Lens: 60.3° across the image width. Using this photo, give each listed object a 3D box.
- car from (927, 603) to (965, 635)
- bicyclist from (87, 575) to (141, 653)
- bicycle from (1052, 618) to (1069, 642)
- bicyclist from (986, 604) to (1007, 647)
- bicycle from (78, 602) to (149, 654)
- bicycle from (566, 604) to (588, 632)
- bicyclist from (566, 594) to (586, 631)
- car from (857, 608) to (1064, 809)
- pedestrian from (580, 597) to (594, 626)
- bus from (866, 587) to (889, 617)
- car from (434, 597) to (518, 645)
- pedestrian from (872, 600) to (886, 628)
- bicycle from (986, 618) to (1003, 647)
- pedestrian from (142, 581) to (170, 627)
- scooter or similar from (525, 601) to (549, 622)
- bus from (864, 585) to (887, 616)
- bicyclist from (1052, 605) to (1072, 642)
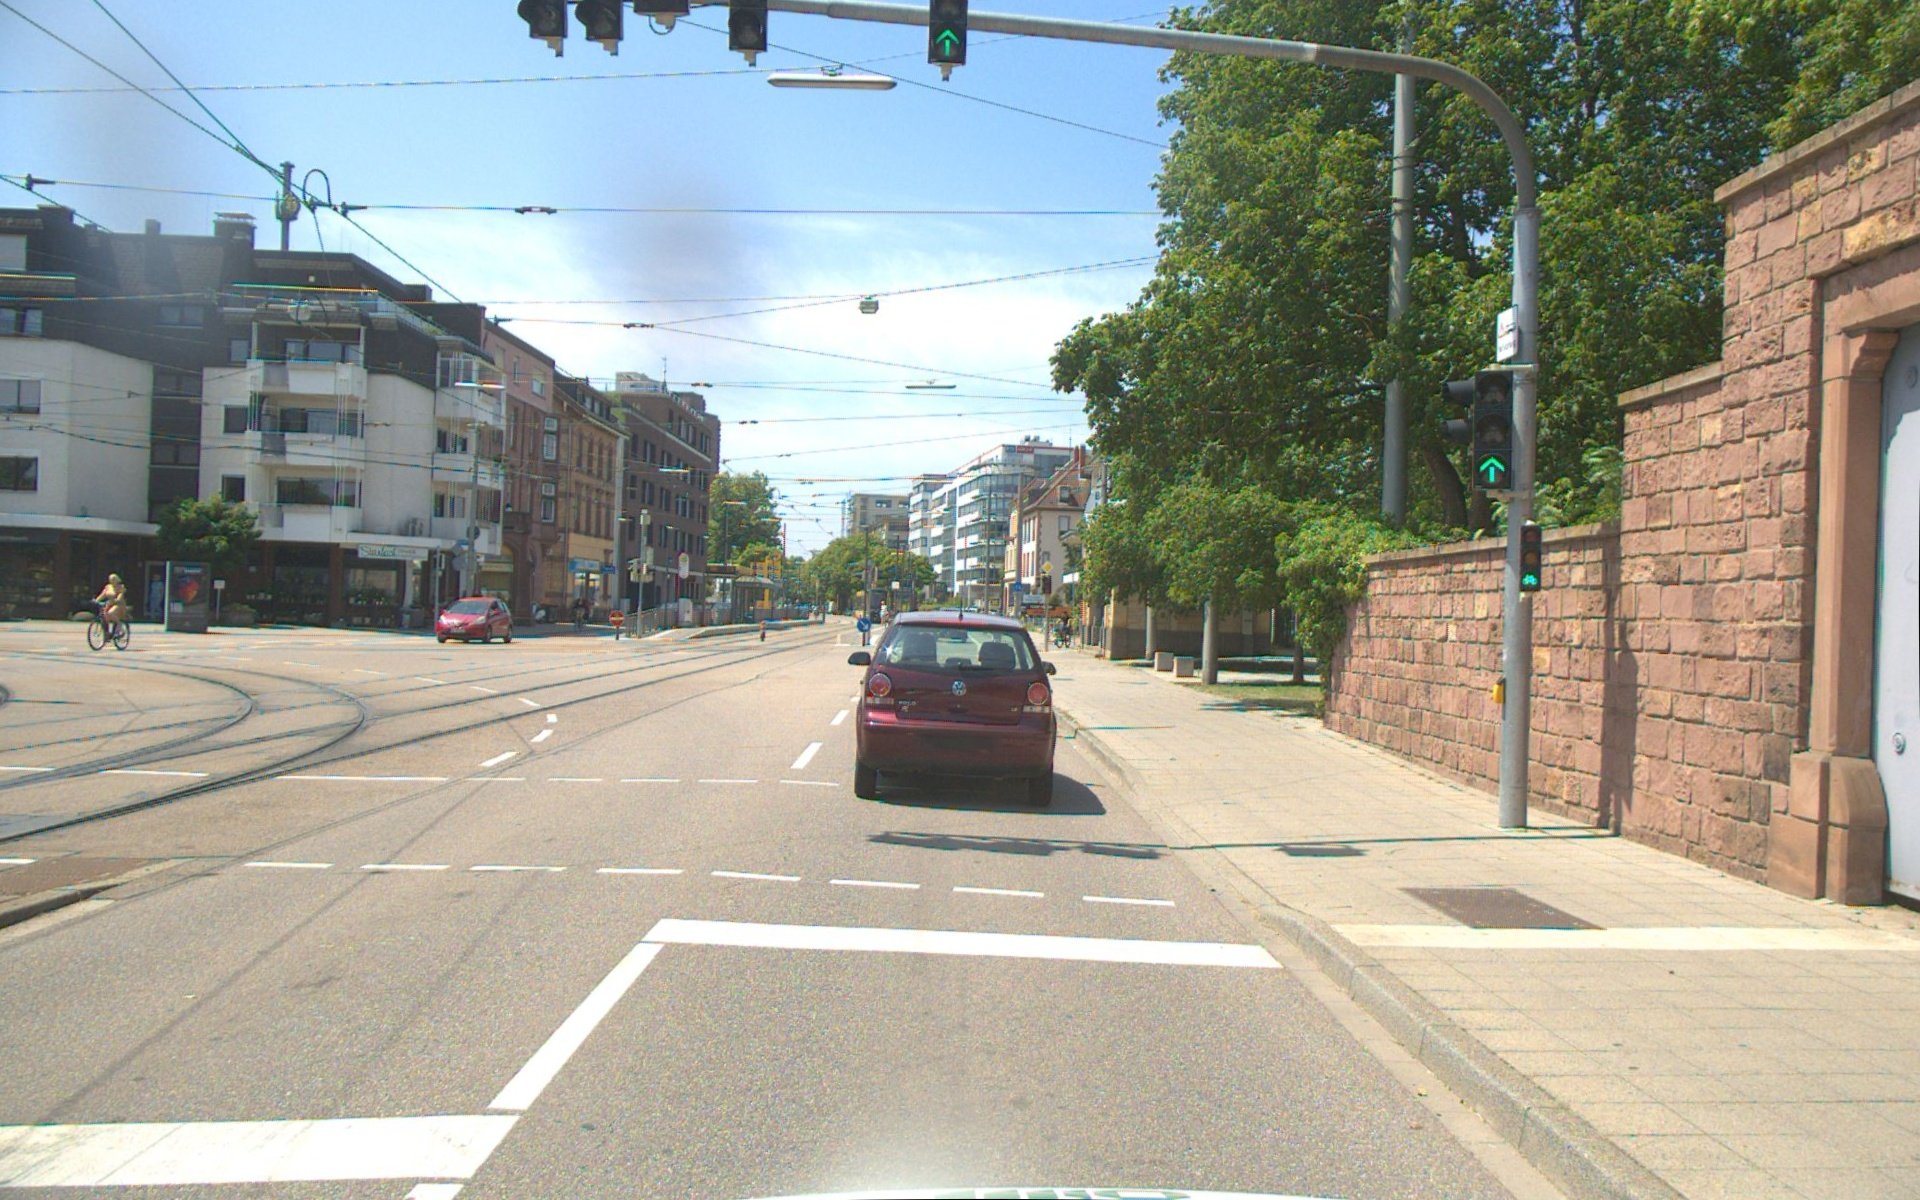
[{"bbox_3d":[-0.757,1.020,90.958,1.952,1.653,4.631,1,0,0],"label":"car"},{"bbox_3d":[-20.057,0.324,39.220,0.680,1.796,1.137,2,0,-1],"label":"bicyclist"},{"bbox_3d":[4.534,1.367,74.724,0.654,1.020,1.863,-1,0,0],"label":"bicycle"},{"bbox_3d":[1.562,1.093,70.547,0.712,1.791,0.924,1,0,10],"label":"bicyclist"},{"bbox_3d":[-20.074,0.653,39.264,0.680,1.169,1.931,2,1,-1],"label":"bicycle"},{"bbox_3d":[-18.993,0.873,81.974,0.663,1.327,2.104,2,0,-3],"label":"bicycle"},{"bbox_3d":[-19.045,0.629,82.033,0.717,1.793,1.134,2,0,-3],"label":"bicyclist"},{"bbox_3d":[-0.024,0.829,14.014,1.529,1.479,3.061,2,0,-1],"label":"car"},{"bbox_3d":[-20.682,0.630,91.686,0.602,1.588,0.640,1,0,-1],"label":"pedestrian"},{"bbox_3d":[-8.654,0.225,173.171,2.188,3.055,6.591,1,0,-2],"label":"bus"},{"bbox_3d":[-16.338,0.701,55.961,1.590,1.510,3.829,1,0,2],"label":"car"},{"bbox_3d":[-4.900,0.853,100.397,0.747,1.704,1.100,2,-1,0],"label":"pedestrian"},{"bbox_3d":[1.482,1.375,70.481,0.367,1.218,1.907,1,0,10],"label":"bicycle"},{"bbox_3d":[-30.996,0.155,63.755,0.685,1.726,0.807,2,-1,-5],"label":"pedestrian"},{"bbox_3d":[-22.613,0.602,88.384,0.477,1.101,1.578,1,0,16],"label":"scooter or similar"},{"bbox_3d":[-8.484,0.047,166.579,2.101,3.055,6.571,1,0,-2],"label":"bus"},{"bbox_3d":[4.611,1.044,74.669,0.815,1.646,0.860,-1,0,-1],"label":"bicyclist"}]
